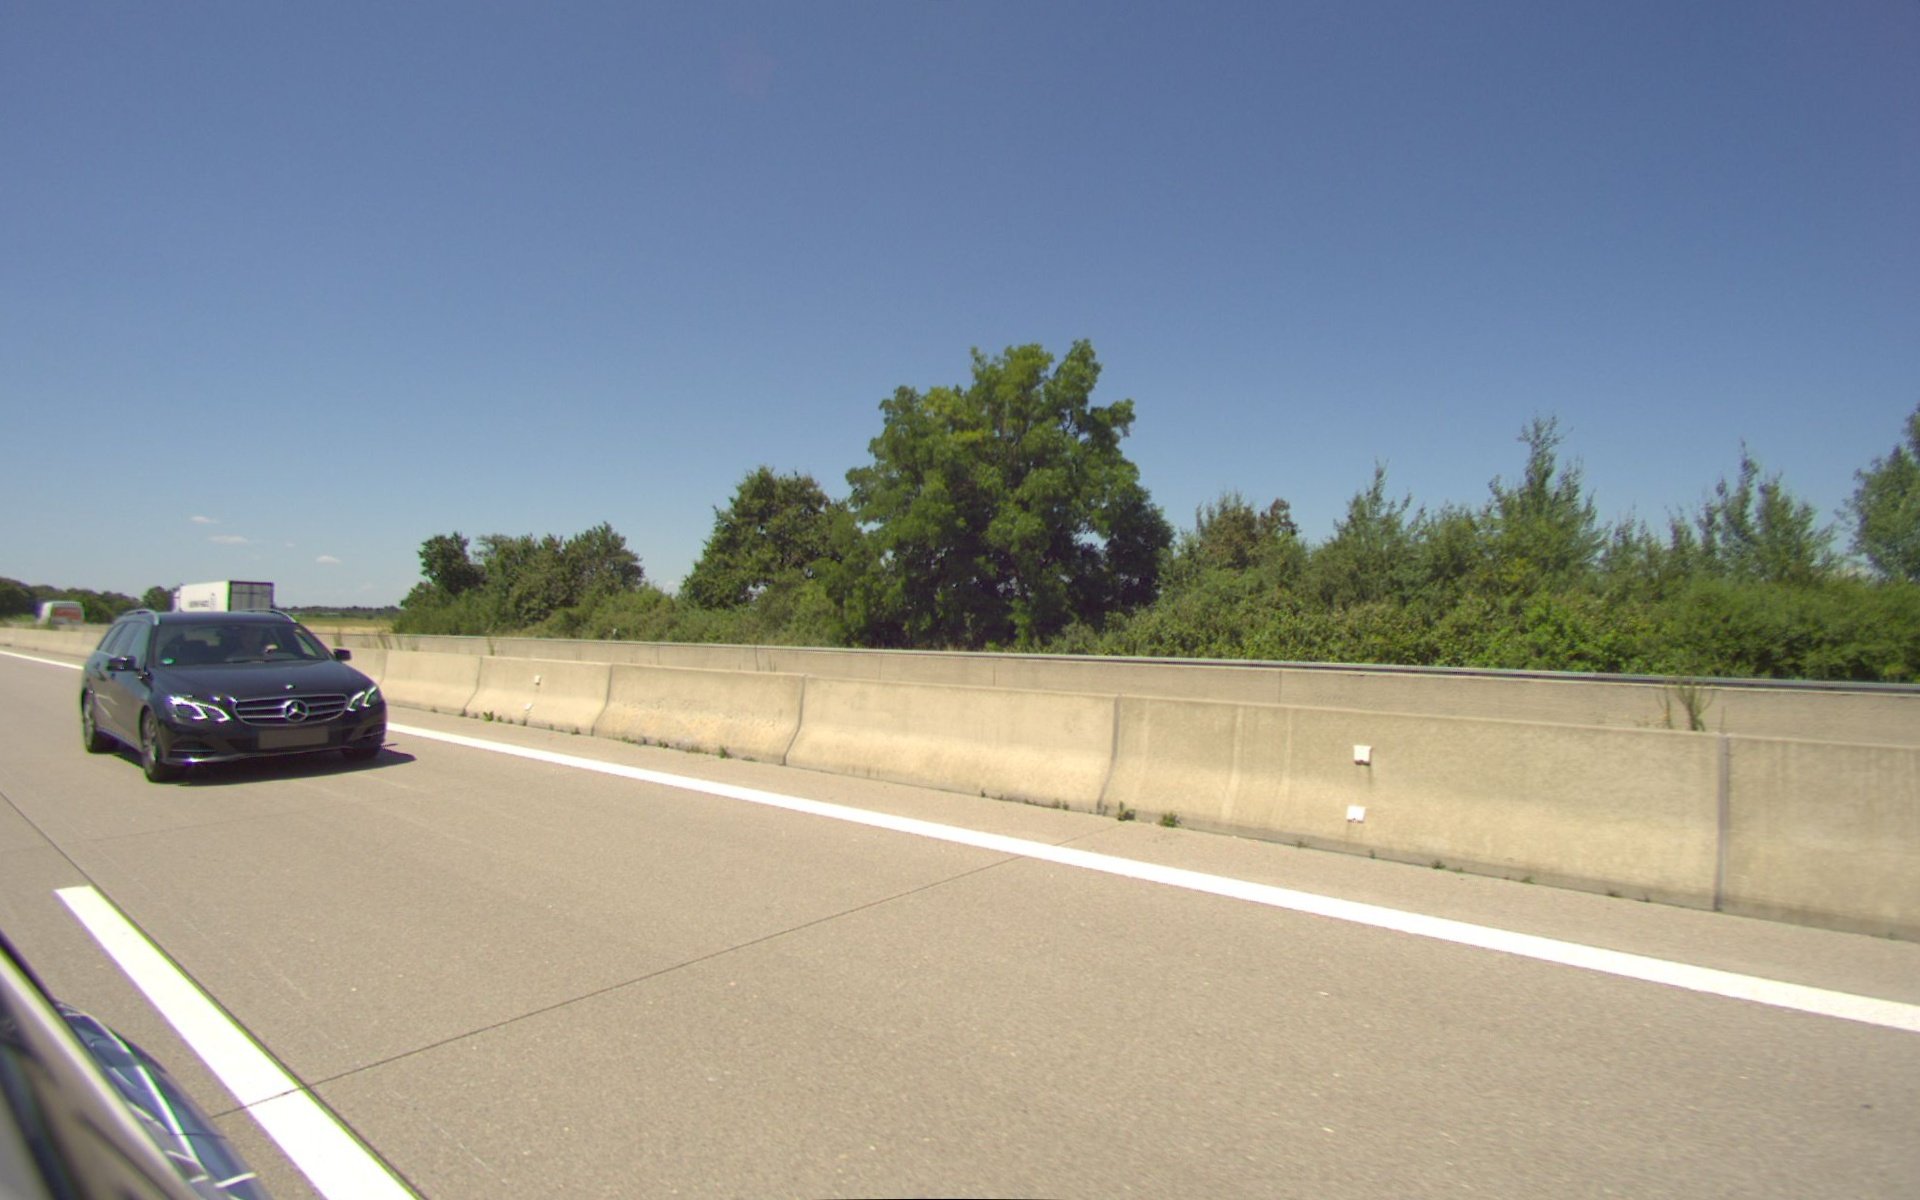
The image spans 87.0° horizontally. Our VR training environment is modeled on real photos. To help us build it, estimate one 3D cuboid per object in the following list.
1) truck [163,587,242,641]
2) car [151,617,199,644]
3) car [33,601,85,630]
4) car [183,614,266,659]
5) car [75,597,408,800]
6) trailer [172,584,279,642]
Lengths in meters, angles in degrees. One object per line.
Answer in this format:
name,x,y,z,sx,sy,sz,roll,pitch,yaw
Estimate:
truck,-57.750,1.067,77.081,8.367,3.938,3.128,-1,-1,41
car,-51.021,1.953,65.761,3.999,1.674,1.800,-1,-2,42
car,-64.847,1.127,72.775,5.977,2.029,2.047,-1,0,41
car,-31.354,1.532,43.107,4.394,1.807,1.909,-1,0,41
car,-7.217,0.814,10.026,3.938,1.597,1.824,-1,0,41
trailer,-53.358,1.000,73.269,14.022,3.867,3.128,-1,-1,41
